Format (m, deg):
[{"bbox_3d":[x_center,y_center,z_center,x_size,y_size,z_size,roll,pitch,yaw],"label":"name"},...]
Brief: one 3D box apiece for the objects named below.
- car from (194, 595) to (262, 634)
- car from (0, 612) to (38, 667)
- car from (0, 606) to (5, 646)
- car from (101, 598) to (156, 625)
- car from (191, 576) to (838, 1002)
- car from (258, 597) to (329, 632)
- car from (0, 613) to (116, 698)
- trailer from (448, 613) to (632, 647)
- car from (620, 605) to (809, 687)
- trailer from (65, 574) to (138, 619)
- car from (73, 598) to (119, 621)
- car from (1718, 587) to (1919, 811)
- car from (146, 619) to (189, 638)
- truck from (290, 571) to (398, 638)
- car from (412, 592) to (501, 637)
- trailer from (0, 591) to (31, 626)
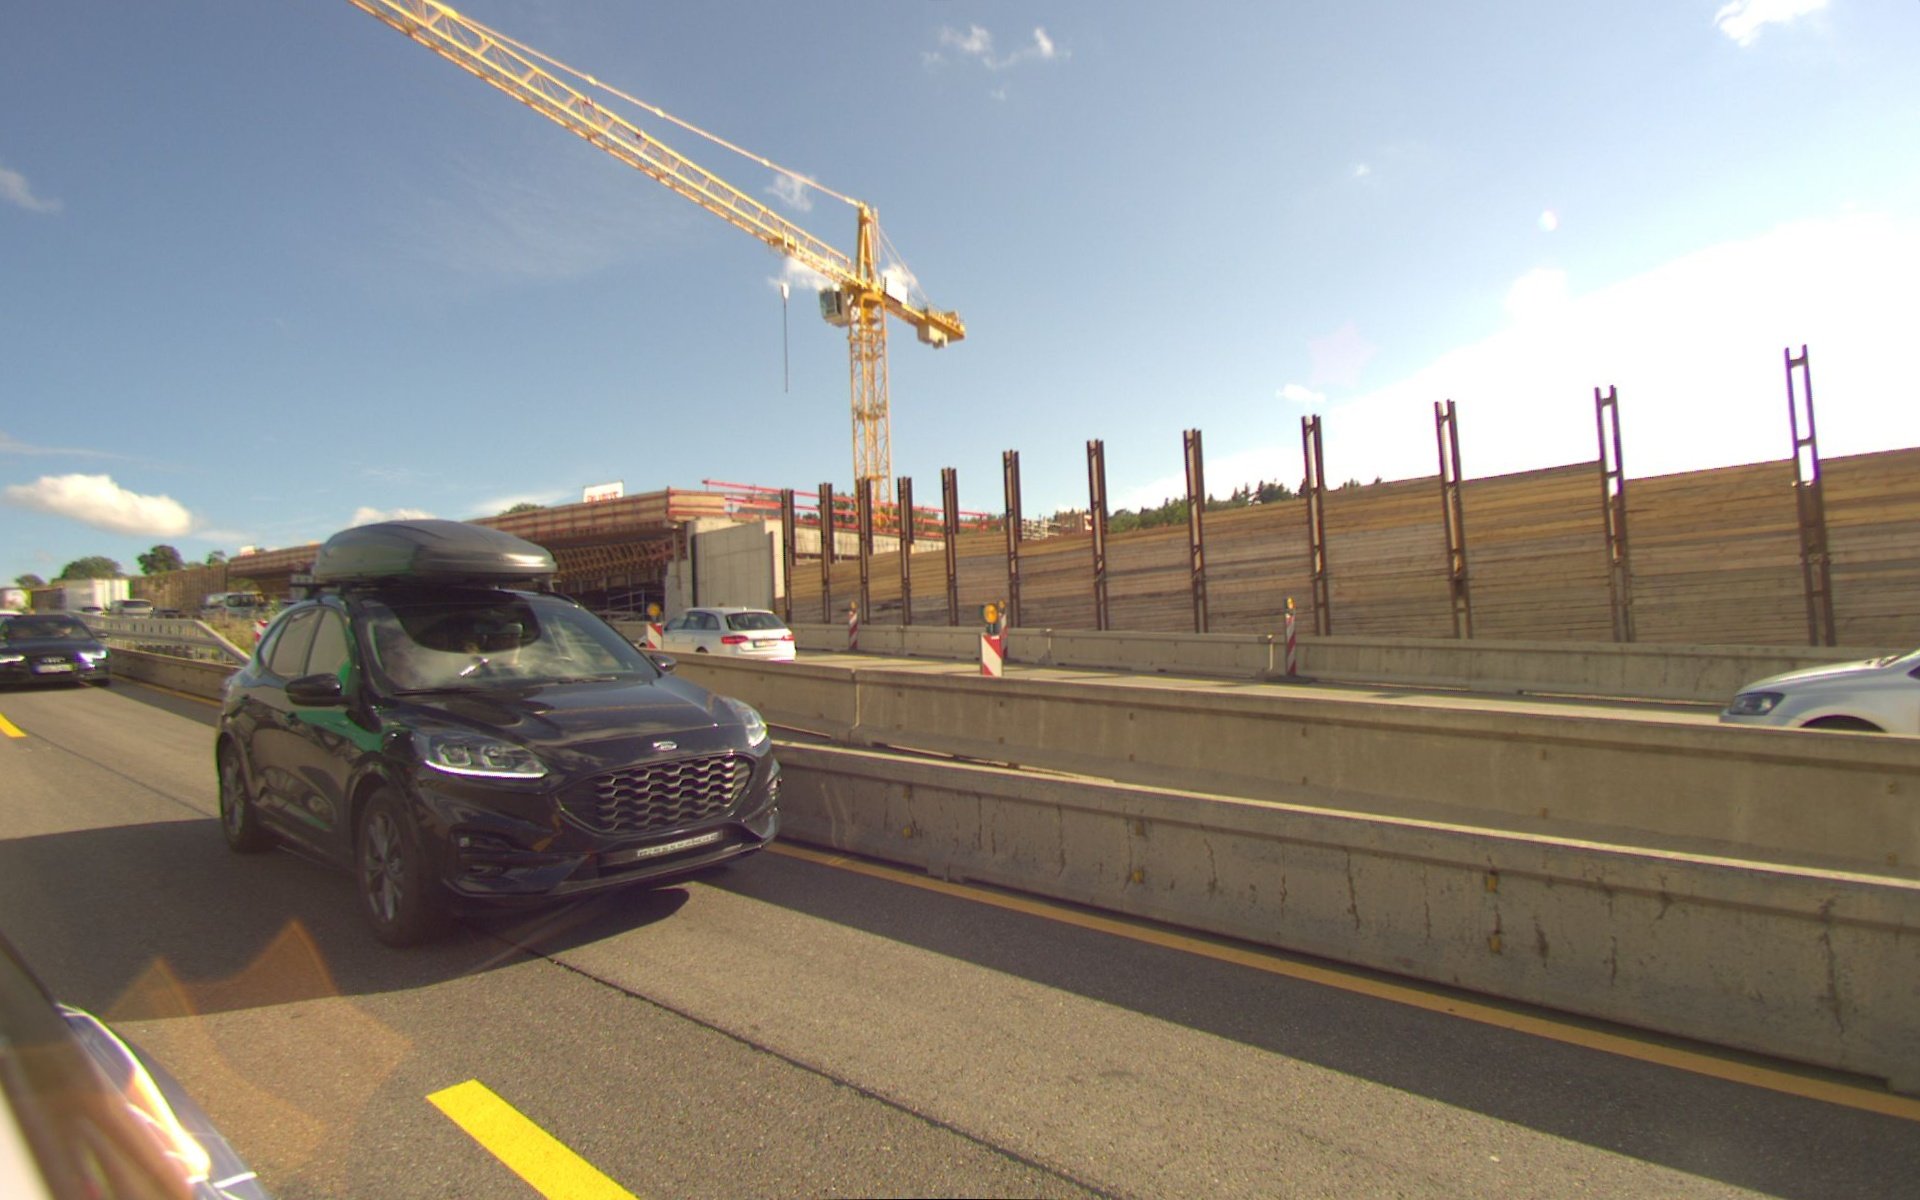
[{"bbox_3d":[-47.802,0.918,66.047,5.862,2.420,2.236,0,1,40],"label":"car"},{"bbox_3d":[-30.254,1.198,31.532,4.560,1.576,1.783,0,1,42],"label":"car"},{"bbox_3d":[-41.097,1.061,41.964,4.560,1.576,1.783,0,1,42],"label":"car"},{"bbox_3d":[-58.314,0.791,70.940,5.027,1.779,2.104,-2,0,41],"label":"car"},{"bbox_3d":[-2.825,0.691,5.832,4.383,1.554,1.780,0,0,42],"label":"car"},{"bbox_3d":[-32.754,0.727,49.697,4.748,1.648,1.832,-2,-1,43],"label":"car"},{"bbox_3d":[-18.738,1.043,20.553,4.659,1.467,1.783,0,1,42],"label":"car"},{"bbox_3d":[-16.290,1.073,38.652,10.327,0.947,2.326,0,1,42],"label":"trailer"},{"bbox_3d":[-5.114,0.879,20.642,1.830,1.451,4.564,-1,0,-41],"label":"car"},{"bbox_3d":[-78.842,-0.337,92.779,13.792,3.870,2.792,0,1,40],"label":"trailer"},{"bbox_3d":[-67.979,0.751,79.594,4.269,1.686,2.104,-2,0,41],"label":"car"},{"bbox_3d":[7.434,0.618,6.515,1.733,1.451,3.809,-1,0,-42],"label":"car"},{"bbox_3d":[-60.086,2.126,76.702,3.999,1.282,1.899,0,1,42],"label":"car"},{"bbox_3d":[-32.843,0.210,53.831,7.532,3.336,2.673,0,1,41],"label":"truck"},{"bbox_3d":[-21.719,0.566,43.607,4.444,1.817,1.972,0,1,42],"label":"car"},{"bbox_3d":[-120.436,1.036,128.125,13.804,4.187,2.660,0,1,41],"label":"trailer"}]
